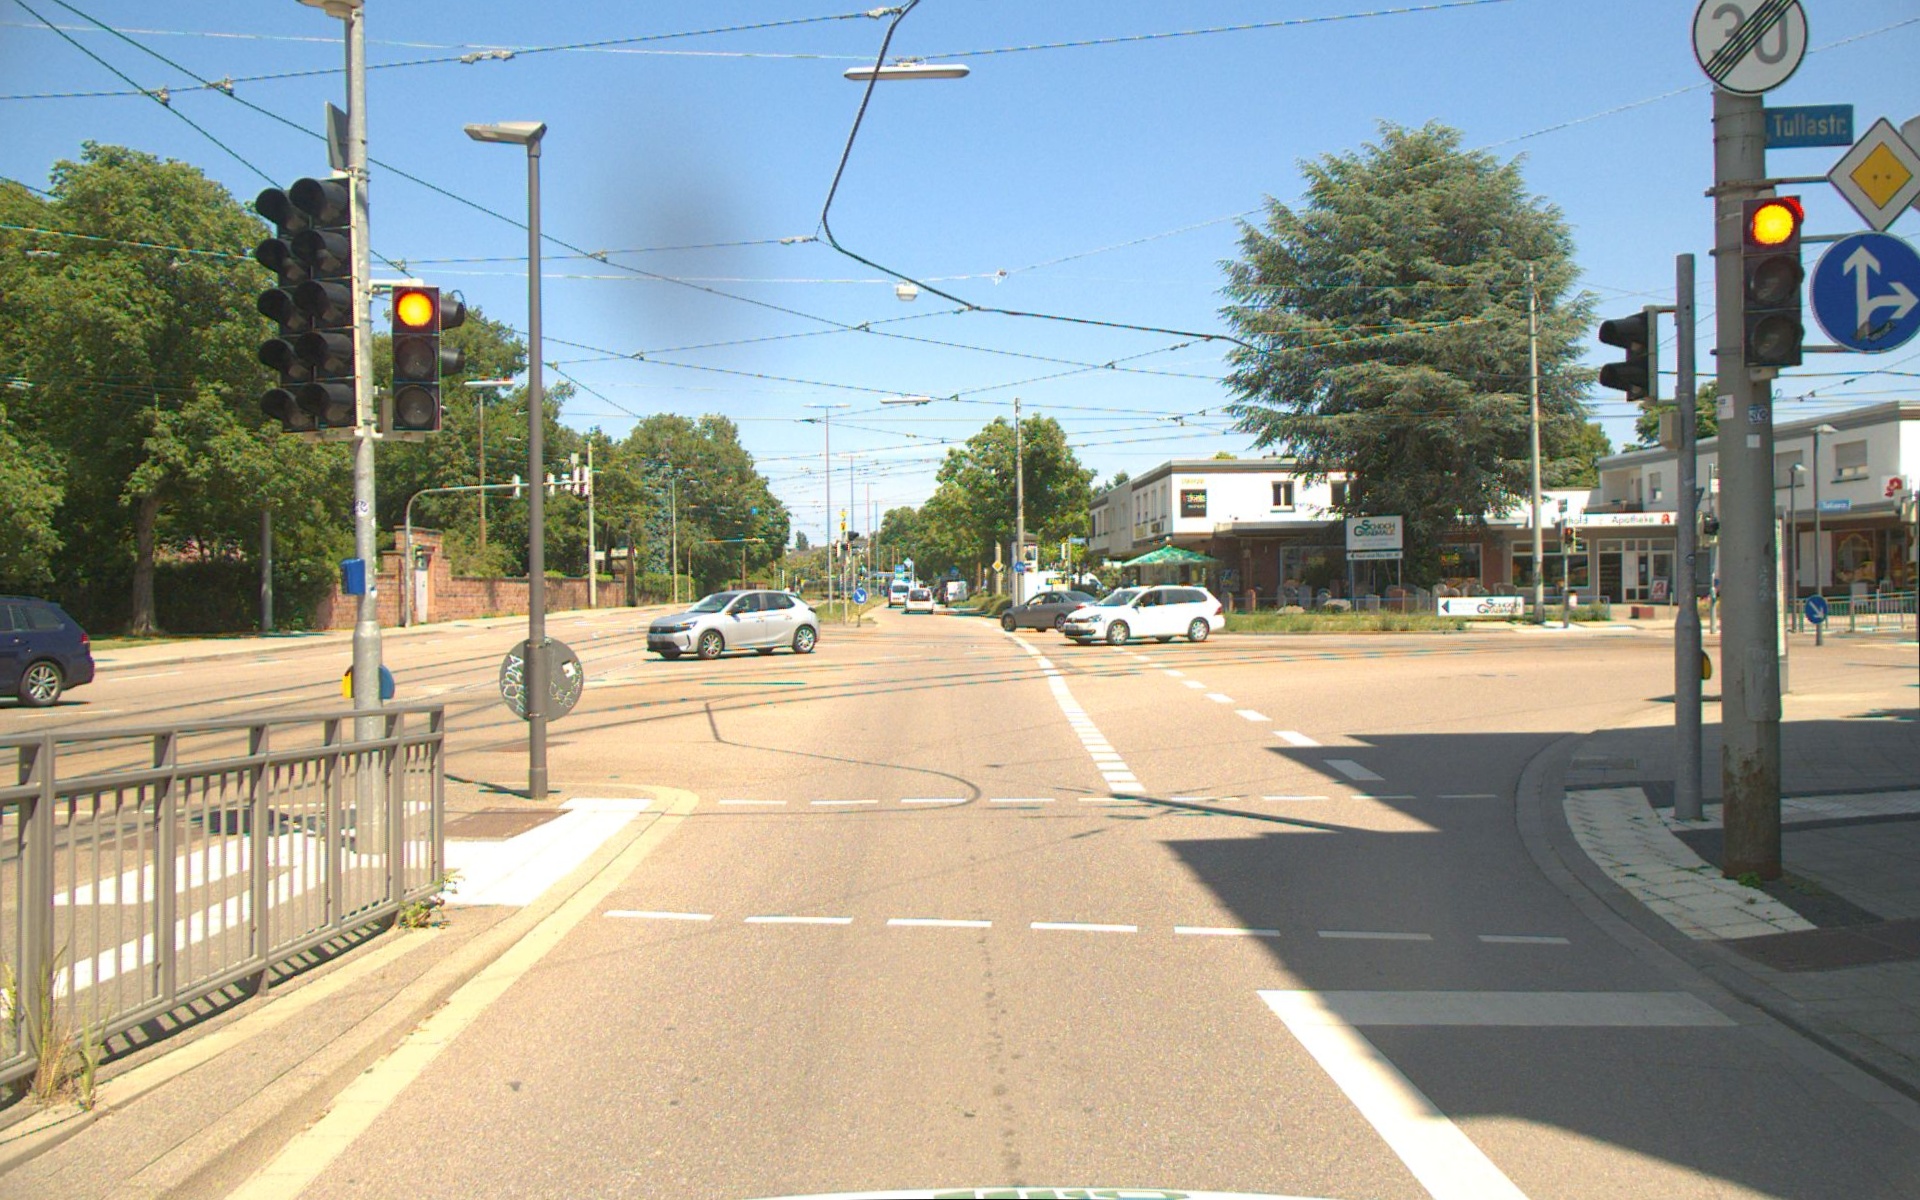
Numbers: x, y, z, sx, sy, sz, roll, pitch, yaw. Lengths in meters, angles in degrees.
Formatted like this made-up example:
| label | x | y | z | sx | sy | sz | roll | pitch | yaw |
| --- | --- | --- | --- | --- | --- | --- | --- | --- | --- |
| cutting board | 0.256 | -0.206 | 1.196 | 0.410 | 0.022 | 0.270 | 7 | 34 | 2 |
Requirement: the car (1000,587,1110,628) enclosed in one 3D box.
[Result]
| label | x | y | z | sx | sy | sz | roll | pitch | yaw |
| --- | --- | --- | --- | --- | --- | --- | --- | --- | --- |
| car | 3.285 | 0.247 | 57.670 | 1.628 | 1.375 | 3.782 | -1 | 0 | -42 |

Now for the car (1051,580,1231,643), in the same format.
| label | x | y | z | sx | sy | sz | roll | pitch | yaw |
| --- | --- | --- | --- | --- | --- | --- | --- | --- | --- |
| car | 4.706 | 0.273 | 42.875 | 4.436 | 1.516 | 1.806 | -1 | 0 | -30 |

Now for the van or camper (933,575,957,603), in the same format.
| label | x | y | z | sx | sy | sz | roll | pitch | yaw |
| --- | --- | --- | --- | --- | --- | --- | --- | --- | --- |
| van or camper | -1.392 | -1.050 | 152.809 | 1.954 | 2.507 | 3.997 | -1 | 0 | -4 |

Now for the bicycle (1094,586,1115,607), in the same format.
| label | x | y | z | sx | sy | sz | roll | pitch | yaw |
| --- | --- | --- | --- | --- | --- | --- | --- | --- | --- |
| bicycle | 7.389 | -0.191 | 84.595 | 1.012 | 1.032 | 2.639 | -1 | 1 | 5 |

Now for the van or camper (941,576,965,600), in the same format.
| label | x | y | z | sx | sy | sz | roll | pitch | yaw |
| --- | --- | --- | --- | --- | --- | --- | --- | --- | --- |
| van or camper | -0.572 | -0.930 | 130.353 | 1.883 | 1.803 | 3.999 | -1 | 0 | -1 |

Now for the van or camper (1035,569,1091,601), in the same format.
| label | x | y | z | sx | sy | sz | roll | pitch | yaw |
| --- | --- | --- | --- | --- | --- | --- | --- | --- | --- |
| van or camper | 8.933 | -1.331 | 143.525 | 4.662 | 2.717 | 2.134 | -1 | 0 | -3 |

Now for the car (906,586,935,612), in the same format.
| label | x | y | z | sx | sy | sz | roll | pitch | yaw |
| --- | --- | --- | --- | --- | --- | --- | --- | --- | --- |
| car | -2.311 | -0.088 | 96.657 | 1.636 | 1.460 | 3.474 | -1 | 0 | -1 |

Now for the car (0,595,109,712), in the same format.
| label | x | y | z | sx | sy | sz | roll | pitch | yaw |
| --- | --- | --- | --- | --- | --- | --- | --- | --- | --- |
| car | -13.265 | 0.702 | 20.853 | 1.818 | 1.467 | 4.479 | -1 | 0 | 20 |

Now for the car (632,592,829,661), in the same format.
| label | x | y | z | sx | sy | sz | roll | pitch | yaw |
| --- | --- | --- | --- | --- | --- | --- | --- | --- | --- |
| car | -4.997 | 0.534 | 36.303 | 4.019 | 1.386 | 1.795 | -1 | 1 | -43 |

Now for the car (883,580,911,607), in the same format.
| label | x | y | z | sx | sy | sz | roll | pitch | yaw |
| --- | --- | --- | --- | --- | --- | --- | --- | --- | --- |
| car | -4.570 | -0.476 | 119.761 | 1.954 | 1.892 | 3.997 | -1 | 0 | -3 |
